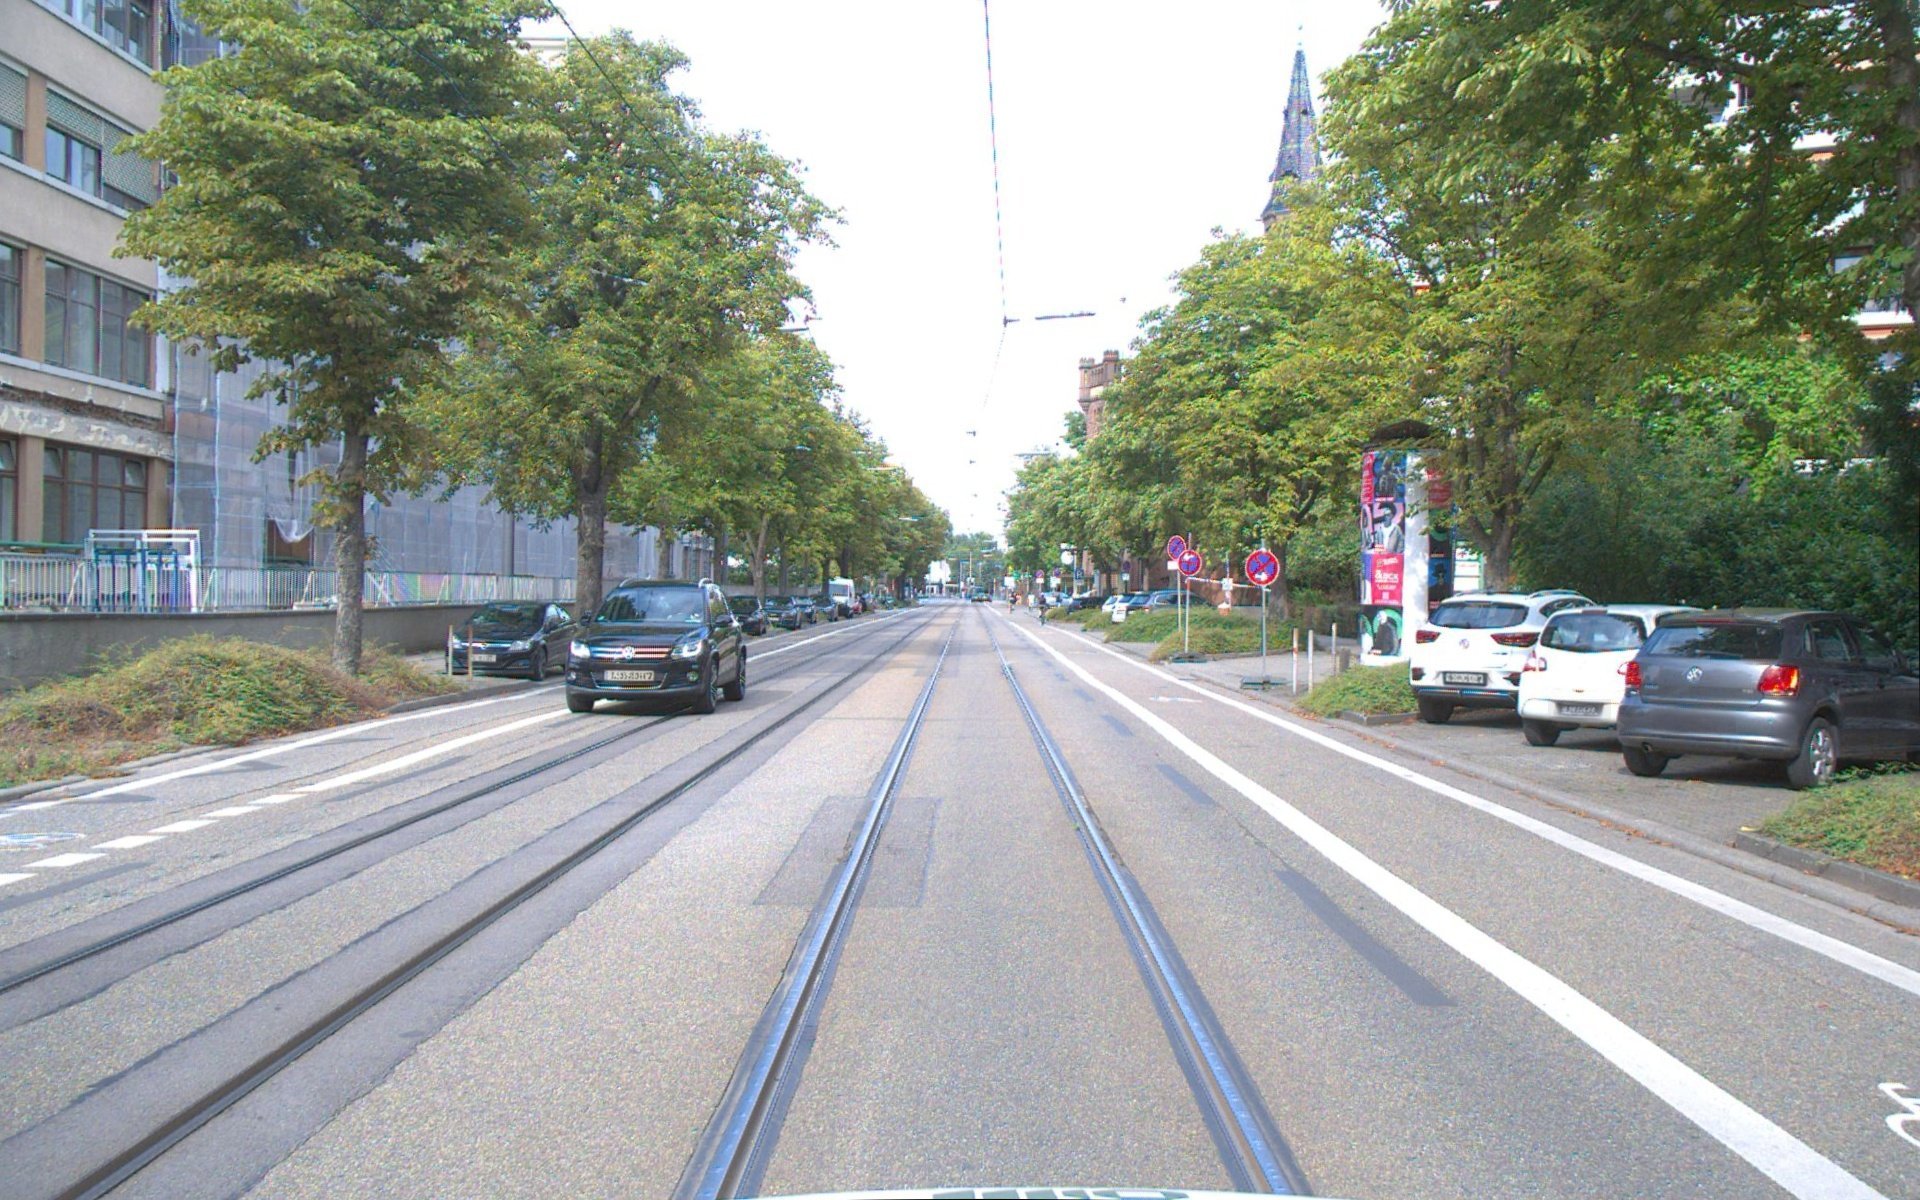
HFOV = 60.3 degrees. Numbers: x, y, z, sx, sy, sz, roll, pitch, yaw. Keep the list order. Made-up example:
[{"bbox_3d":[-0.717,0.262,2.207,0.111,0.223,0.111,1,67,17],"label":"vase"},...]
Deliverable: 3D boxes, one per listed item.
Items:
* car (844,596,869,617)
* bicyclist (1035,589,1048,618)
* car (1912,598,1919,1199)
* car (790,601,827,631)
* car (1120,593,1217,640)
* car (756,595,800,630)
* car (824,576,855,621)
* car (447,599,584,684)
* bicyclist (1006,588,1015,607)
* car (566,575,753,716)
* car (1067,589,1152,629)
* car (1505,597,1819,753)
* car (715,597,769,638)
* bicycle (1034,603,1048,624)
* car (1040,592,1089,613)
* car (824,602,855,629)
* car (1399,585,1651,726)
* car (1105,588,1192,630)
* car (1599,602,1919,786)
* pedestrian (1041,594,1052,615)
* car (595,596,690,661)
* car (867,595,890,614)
[{"bbox_3d":[-7.320,0.428,117.300,1.558,1.427,3.961,1,0,-2],"label":"car"},{"bbox_3d":[4.201,0.195,85.636,0.581,1.485,0.875,1,0,-2],"label":"bicyclist"},{"bbox_3d":[2.751,0.659,0.947,1.775,1.730,4.617,1,0,0],"label":"car"},{"bbox_3d":[-7.417,0.768,81.267,1.558,1.427,3.961,1,0,-2],"label":"car"},{"bbox_3d":[7.583,0.591,60.044,1.654,1.630,3.621,0,0,44],"label":"car"},{"bbox_3d":[-7.788,0.514,71.046,1.558,1.427,3.961,1,0,-2],"label":"car"},{"bbox_3d":[-7.583,-0.090,104.818,1.686,2.751,5.468,1,0,-2],"label":"car"},{"bbox_3d":[-8.136,0.716,30.573,1.558,1.427,3.961,1,0,-2],"label":"car"},{"bbox_3d":[4.034,-0.216,132.149,0.645,1.522,0.929,1,0,1],"label":"bicyclist"},{"bbox_3d":[-3.858,0.530,21.929,1.697,1.657,4.378,-1,0,-1],"label":"car"},{"bbox_3d":[6.253,0.367,68.980,1.654,1.630,3.621,0,0,44],"label":"car"},{"bbox_3d":[7.597,0.741,17.785,3.611,1.500,1.658,1,0,-40],"label":"car"},{"bbox_3d":[-7.973,0.609,60.746,1.558,1.427,3.961,1,0,-2],"label":"car"},{"bbox_3d":[4.190,0.693,85.634,0.581,1.062,1.977,1,0,-2],"label":"bicycle"},{"bbox_3d":[9.043,0.183,143.220,3.909,1.722,1.998,1,0,-5],"label":"car"},{"bbox_3d":[-6.646,0.834,91.467,1.558,1.427,3.961,1,0,-2],"label":"car"},{"bbox_3d":[7.231,0.660,20.999,1.654,1.630,3.621,0,0,44],"label":"car"},{"bbox_3d":[7.628,0.361,66.845,1.654,1.630,3.621,0,0,44],"label":"car"},{"bbox_3d":[7.448,0.763,14.857,3.611,1.444,1.658,1,0,-40],"label":"car"},{"bbox_3d":[7.490,0.372,143.062,0.732,1.821,0.731,1,-1,15],"label":"pedestrian"},{"bbox_3d":[-7.854,0.674,41.235,1.602,1.522,3.962,1,0,-1],"label":"car"},{"bbox_3d":[-6.393,0.330,130.259,1.558,1.427,3.550,1,0,0],"label":"car"}]
